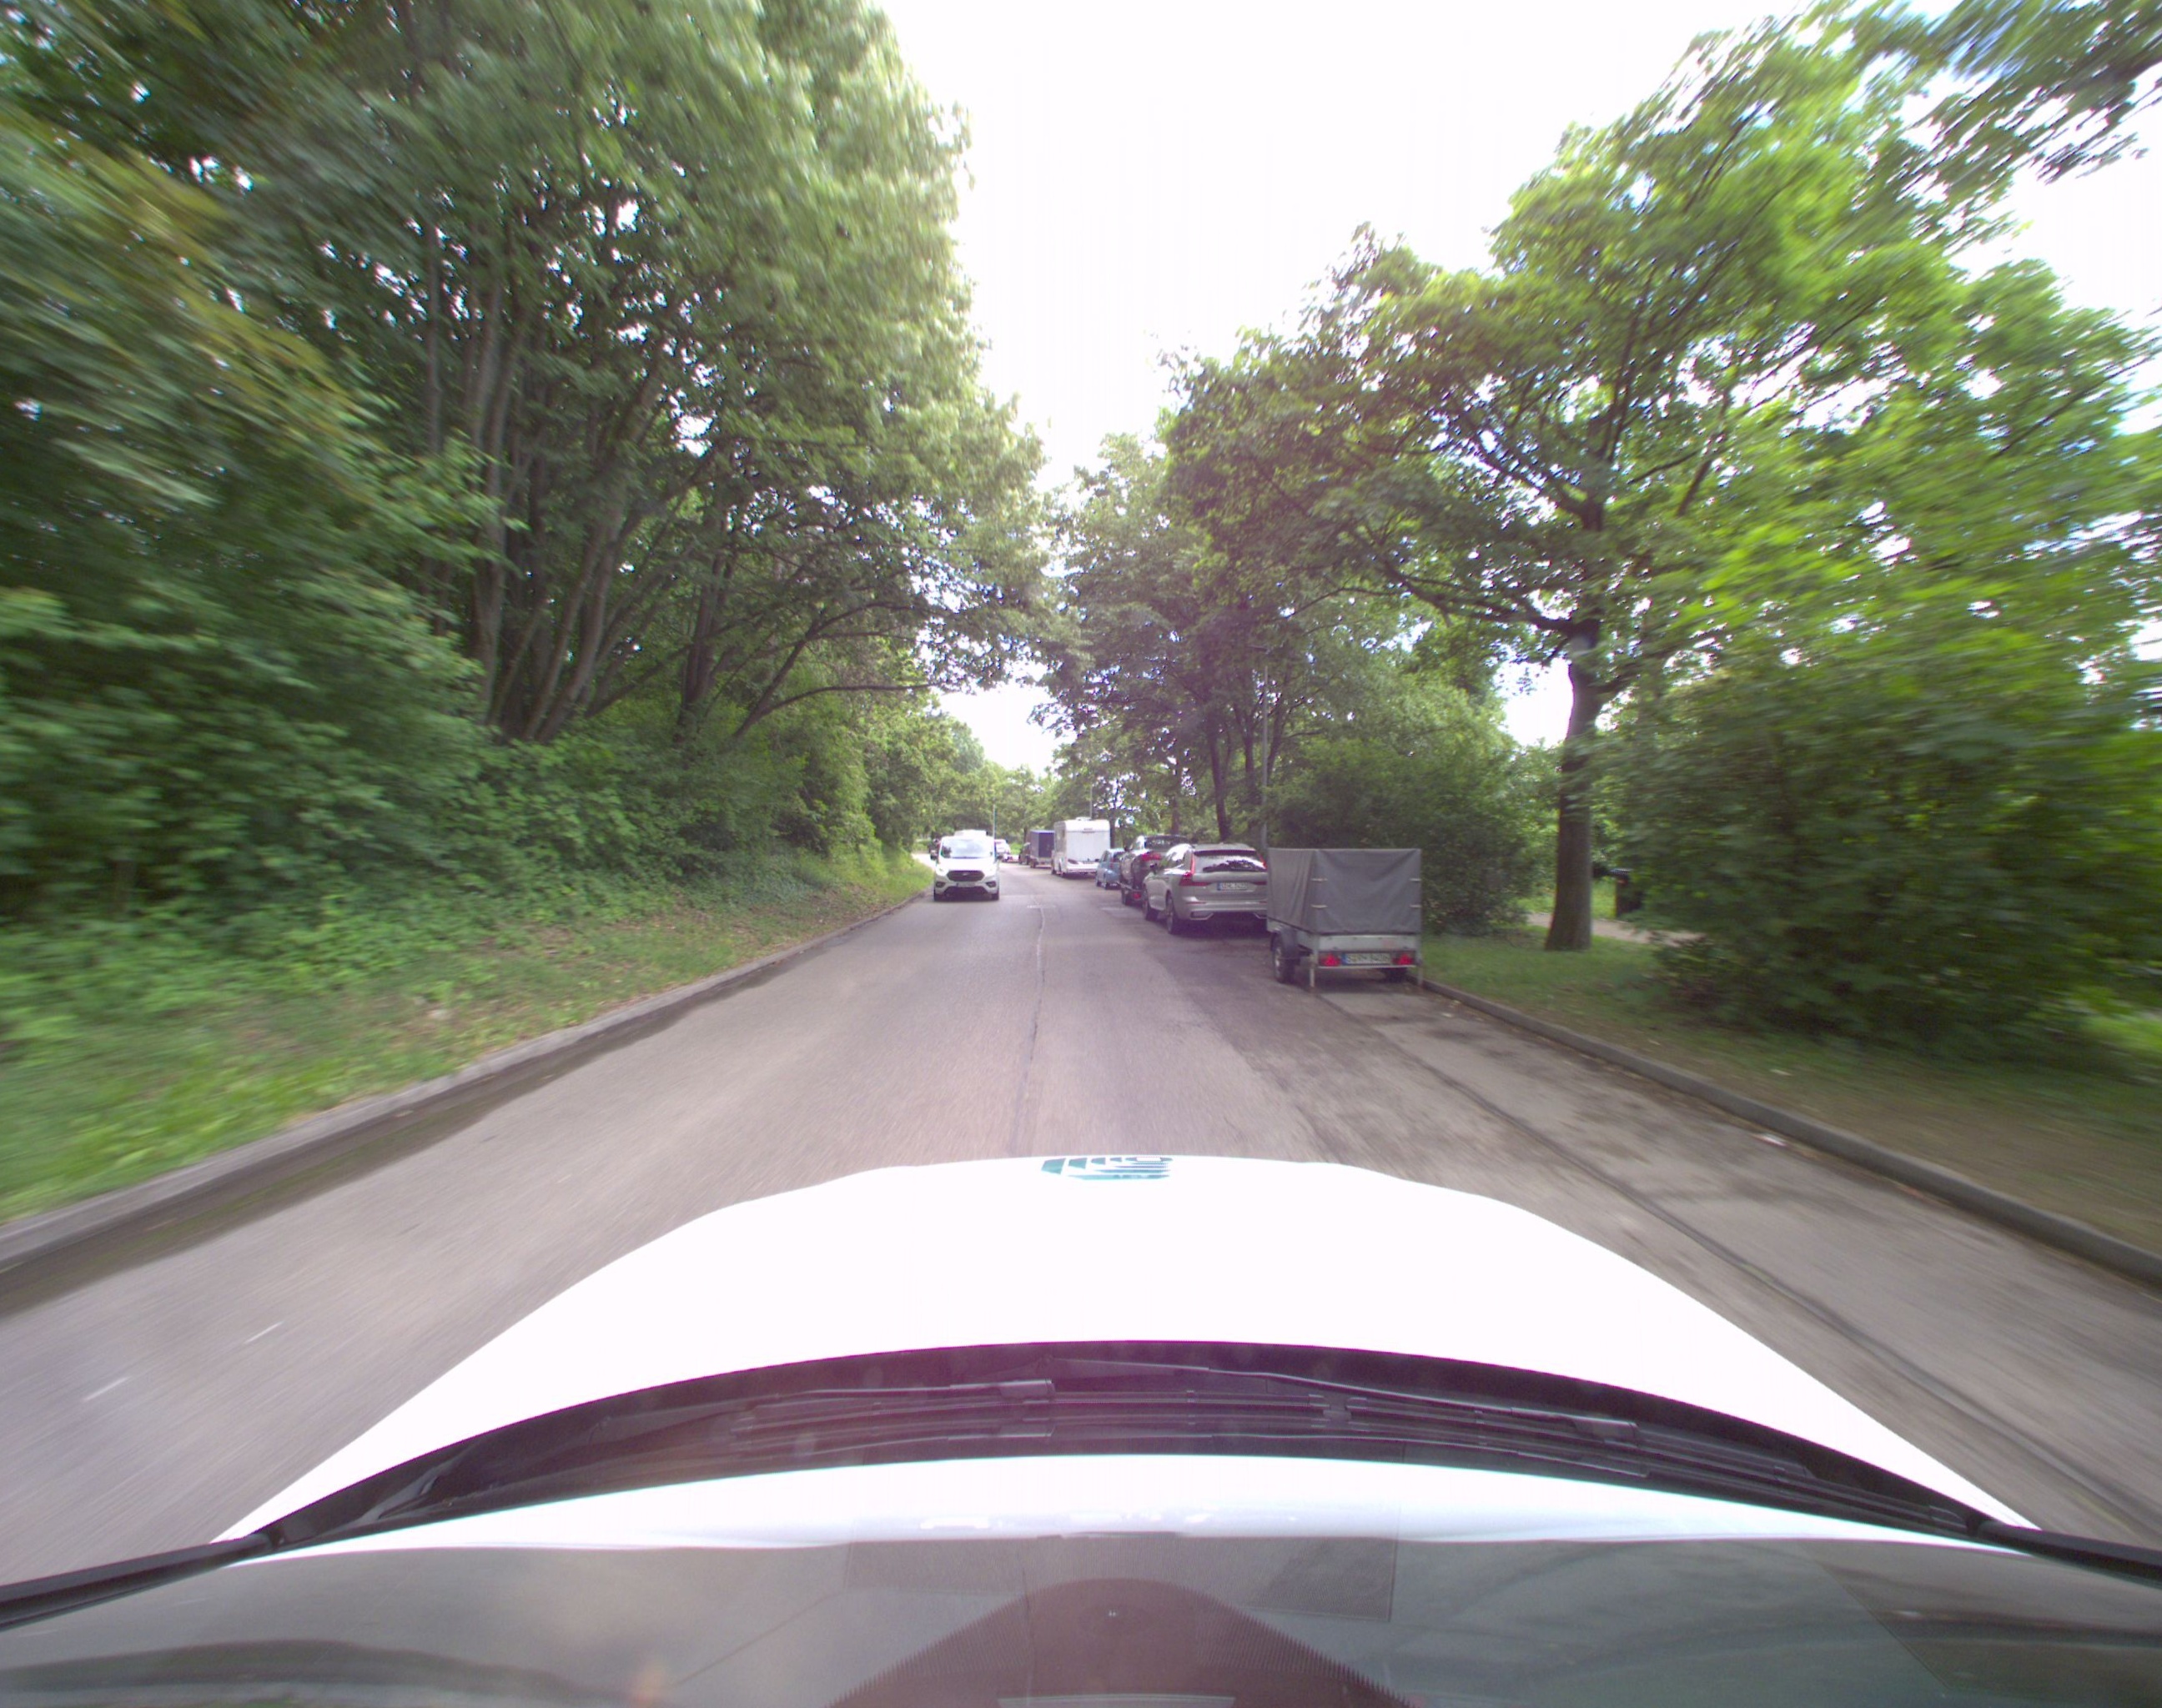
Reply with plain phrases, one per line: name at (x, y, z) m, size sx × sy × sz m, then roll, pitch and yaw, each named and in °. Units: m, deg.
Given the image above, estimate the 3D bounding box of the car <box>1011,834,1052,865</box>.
car at (-3.583, -0.367, 58.047) m, size 1.998 × 2.025 × 3.978 m, roll -3°, pitch 3°, yaw -17°

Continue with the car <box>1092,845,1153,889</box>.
car at (1.541, 0.463, 31.771) m, size 1.797 × 1.562 × 3.827 m, roll 0°, pitch 1°, yaw -6°

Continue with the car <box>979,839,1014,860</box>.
car at (-7.390, -0.425, 70.858) m, size 2.043 × 1.803 × 4.054 m, roll -1°, pitch 1°, yaw -22°

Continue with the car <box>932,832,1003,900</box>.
car at (-3.531, 0.337, 26.056) m, size 1.944 × 1.984 × 4.495 m, roll 0°, pitch 0°, yaw -4°

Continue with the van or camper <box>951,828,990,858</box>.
van or camper at (-10.716, -1.077, 78.875) m, size 2.538 × 2.697 × 4.540 m, roll -1°, pitch 1°, yaw -24°

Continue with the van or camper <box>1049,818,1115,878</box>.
van or camper at (-0.091, -0.301, 42.114) m, size 2.481 × 2.876 × 6.870 m, roll 0°, pitch 0°, yaw -8°

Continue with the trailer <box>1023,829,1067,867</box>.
trailer at (-2.360, -0.390, 52.699) m, size 1.998 × 2.398 × 3.978 m, roll 0°, pitch 0°, yaw -16°

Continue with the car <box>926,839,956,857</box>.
car at (-15.162, -0.684, 88.068) m, size 2.006 × 1.869 × 3.963 m, roll -2°, pitch 3°, yaw -29°

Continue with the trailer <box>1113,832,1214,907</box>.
trailer at (2.118, 0.331, 22.422) m, size 1.975 × 1.811 × 5.142 m, roll 0°, pitch 1°, yaw -4°

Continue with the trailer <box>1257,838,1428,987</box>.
trailer at (3.059, 0.620, 9.926) m, size 1.275 × 1.585 × 2.459 m, roll 0°, pitch 0°, yaw -1°

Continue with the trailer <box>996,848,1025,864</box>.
trailer at (-5.382, 0.111, 61.792) m, size 1.654 × 1.086 × 3.982 m, roll -2°, pitch 1°, yaw -14°

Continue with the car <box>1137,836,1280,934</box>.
car at (2.351, 0.569, 16.243) m, size 1.789 × 1.670 × 4.493 m, roll 0°, pitch -1°, yaw -5°
